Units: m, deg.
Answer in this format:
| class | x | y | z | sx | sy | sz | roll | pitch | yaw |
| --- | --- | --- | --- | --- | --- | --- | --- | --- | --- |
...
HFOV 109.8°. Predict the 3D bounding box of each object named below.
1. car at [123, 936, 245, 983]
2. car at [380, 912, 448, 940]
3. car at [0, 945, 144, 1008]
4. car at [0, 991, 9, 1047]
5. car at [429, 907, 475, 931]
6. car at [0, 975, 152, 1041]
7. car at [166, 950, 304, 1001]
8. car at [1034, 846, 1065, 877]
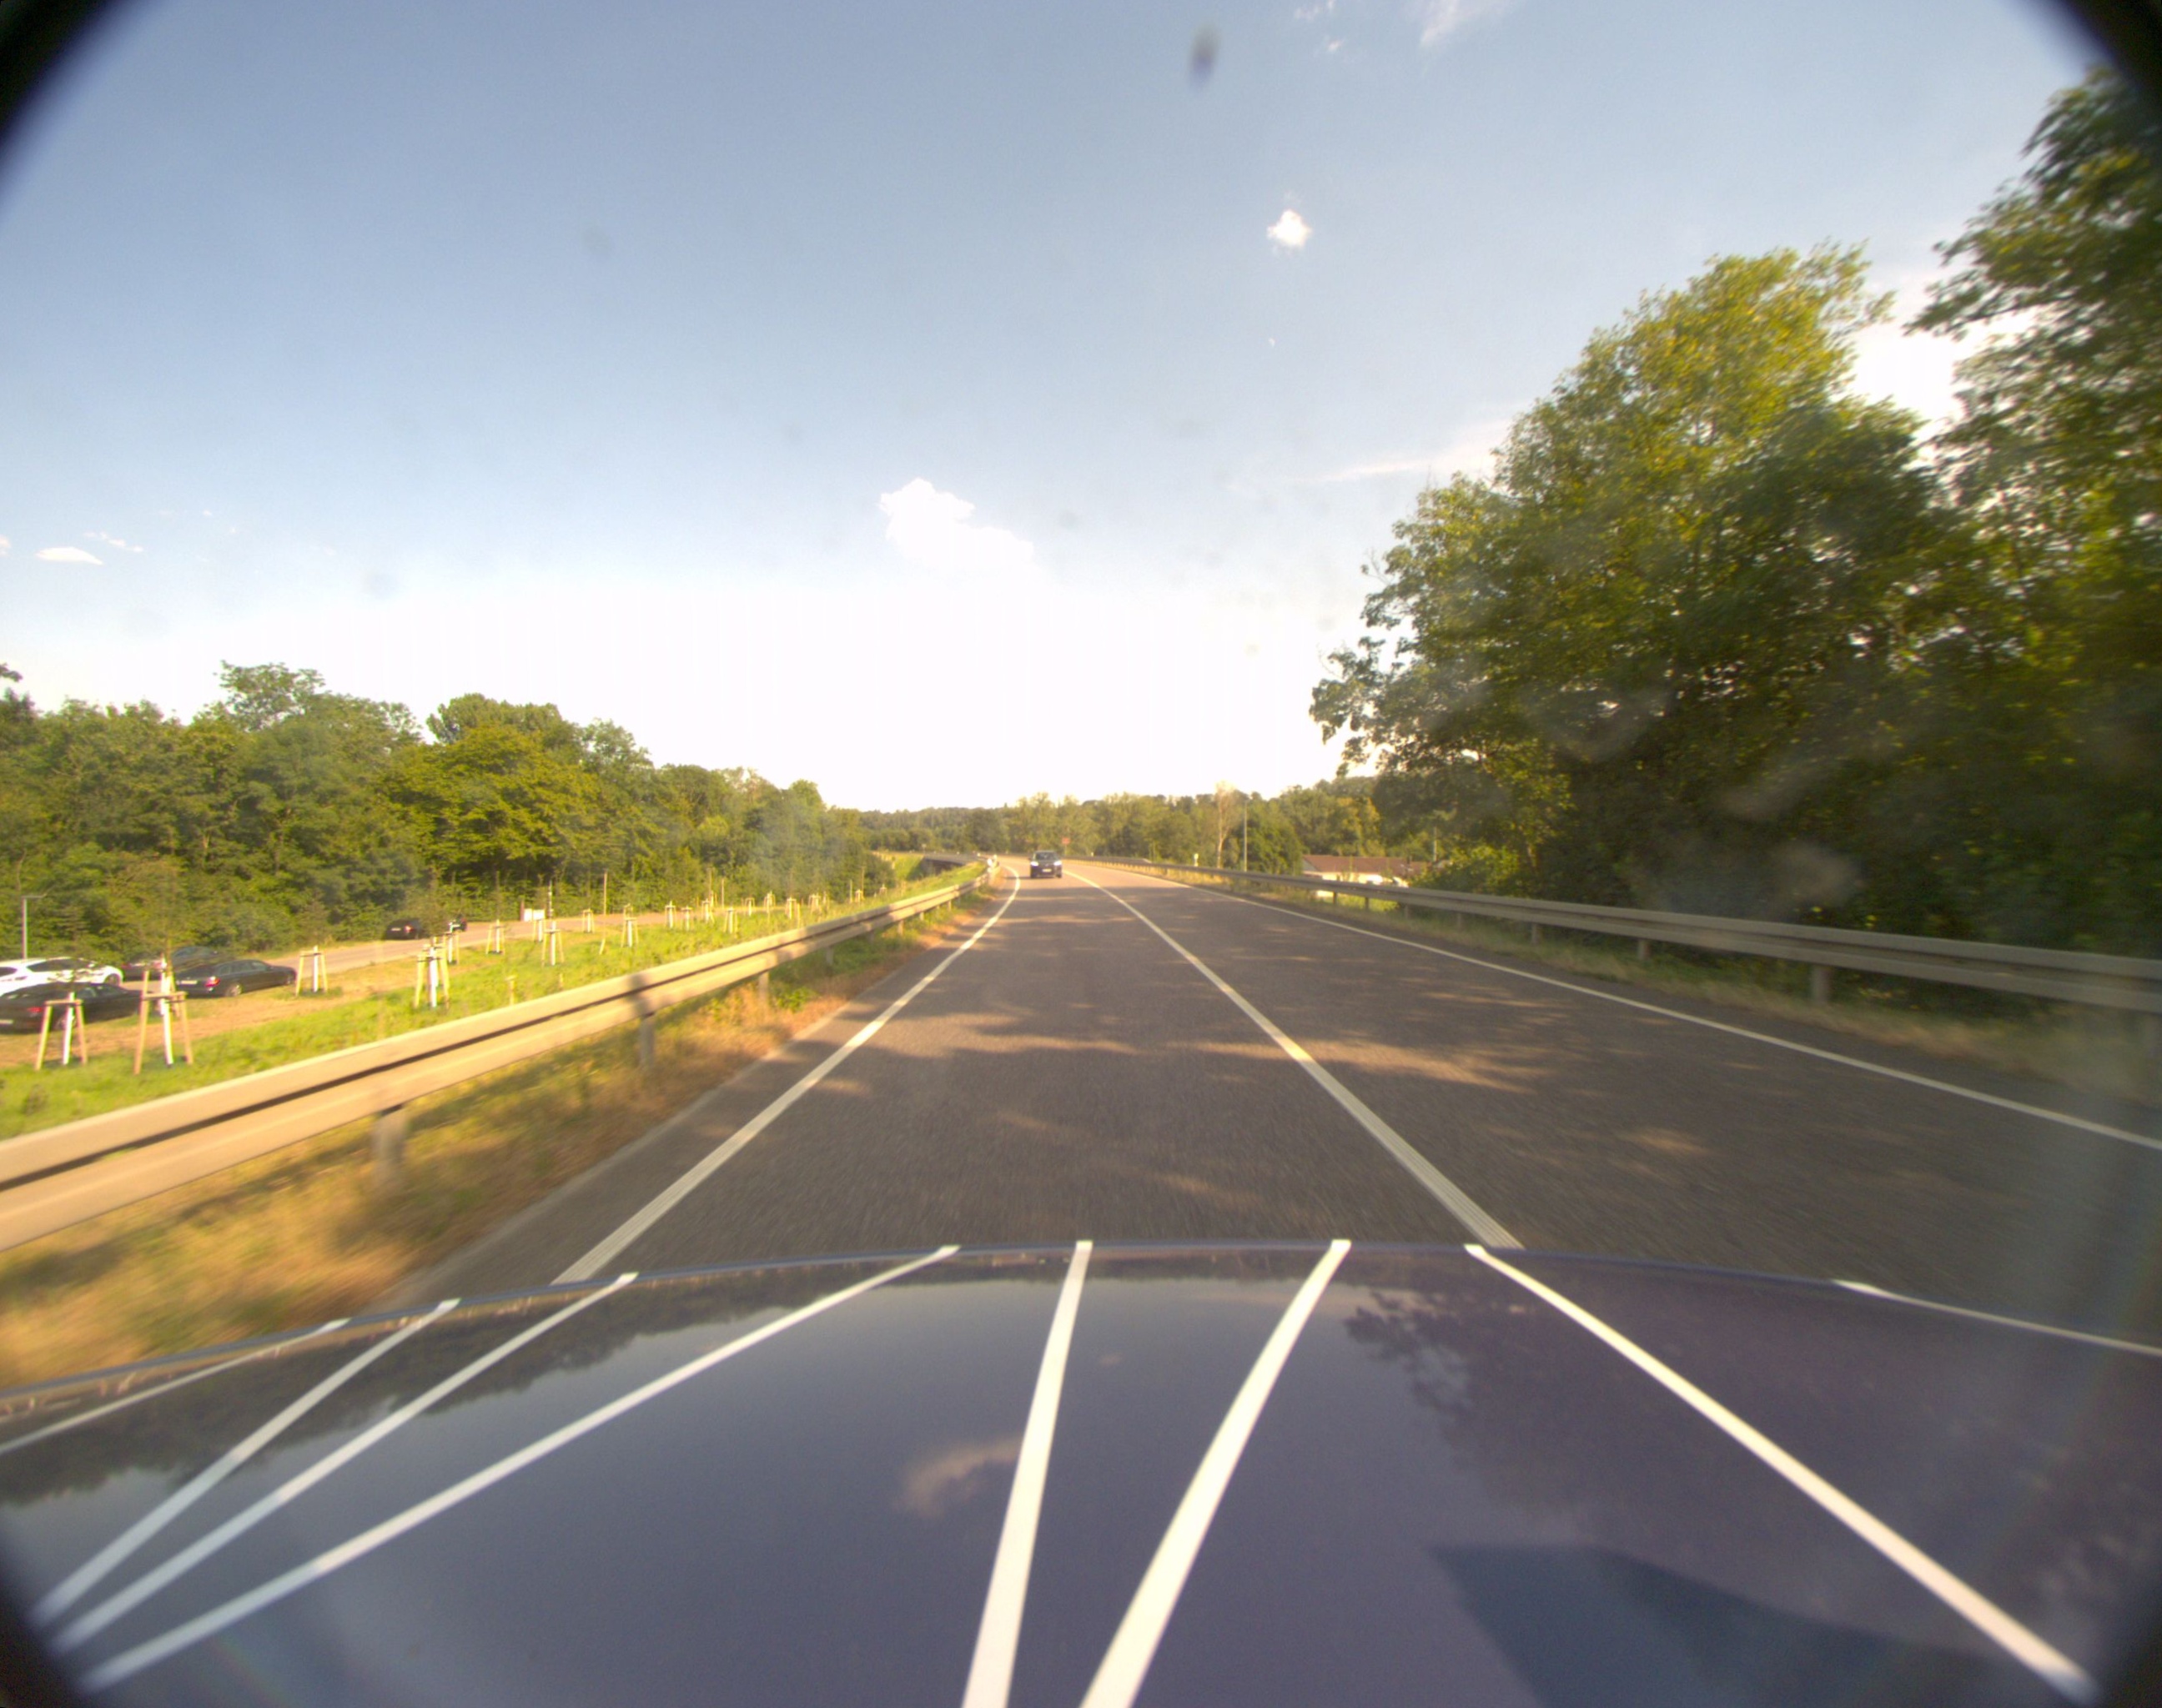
| class | x | y | z | sx | sy | sz | roll | pitch | yaw |
| --- | --- | --- | --- | --- | --- | --- | --- | --- | --- |
| car | -42.171 | 4.919 | 35.878 | 1.661 | 1.488 | 4.216 | -1 | 1 | -17 |
| car | -46.405 | 4.979 | 52.964 | 1.660 | 1.488 | 3.825 | -1 | 1 | -8 |
| car | -40.702 | 4.820 | 30.293 | 1.661 | 1.657 | 4.701 | -1 | 1 | -14 |
| car | -32.841 | 4.964 | 20.845 | 1.825 | 1.649 | 4.250 | 1 | -1 | -19 |
| car | -48.558 | 4.991 | 58.656 | 3.674 | 1.488 | 1.663 | 0 | 2 | 33 |
| car | -34.294 | 5.125 | 25.594 | 1.825 | 1.393 | 4.250 | 1 | -1 | -19 |
| car | -35.860 | 5.095 | 32.379 | 1.660 | 1.487 | 4.219 | -1 | 0 | -10 |
| car | -1.898 | 0.427 | 45.642 | 1.751 | 1.645 | 4.304 | -1 | 2 | -2 |
